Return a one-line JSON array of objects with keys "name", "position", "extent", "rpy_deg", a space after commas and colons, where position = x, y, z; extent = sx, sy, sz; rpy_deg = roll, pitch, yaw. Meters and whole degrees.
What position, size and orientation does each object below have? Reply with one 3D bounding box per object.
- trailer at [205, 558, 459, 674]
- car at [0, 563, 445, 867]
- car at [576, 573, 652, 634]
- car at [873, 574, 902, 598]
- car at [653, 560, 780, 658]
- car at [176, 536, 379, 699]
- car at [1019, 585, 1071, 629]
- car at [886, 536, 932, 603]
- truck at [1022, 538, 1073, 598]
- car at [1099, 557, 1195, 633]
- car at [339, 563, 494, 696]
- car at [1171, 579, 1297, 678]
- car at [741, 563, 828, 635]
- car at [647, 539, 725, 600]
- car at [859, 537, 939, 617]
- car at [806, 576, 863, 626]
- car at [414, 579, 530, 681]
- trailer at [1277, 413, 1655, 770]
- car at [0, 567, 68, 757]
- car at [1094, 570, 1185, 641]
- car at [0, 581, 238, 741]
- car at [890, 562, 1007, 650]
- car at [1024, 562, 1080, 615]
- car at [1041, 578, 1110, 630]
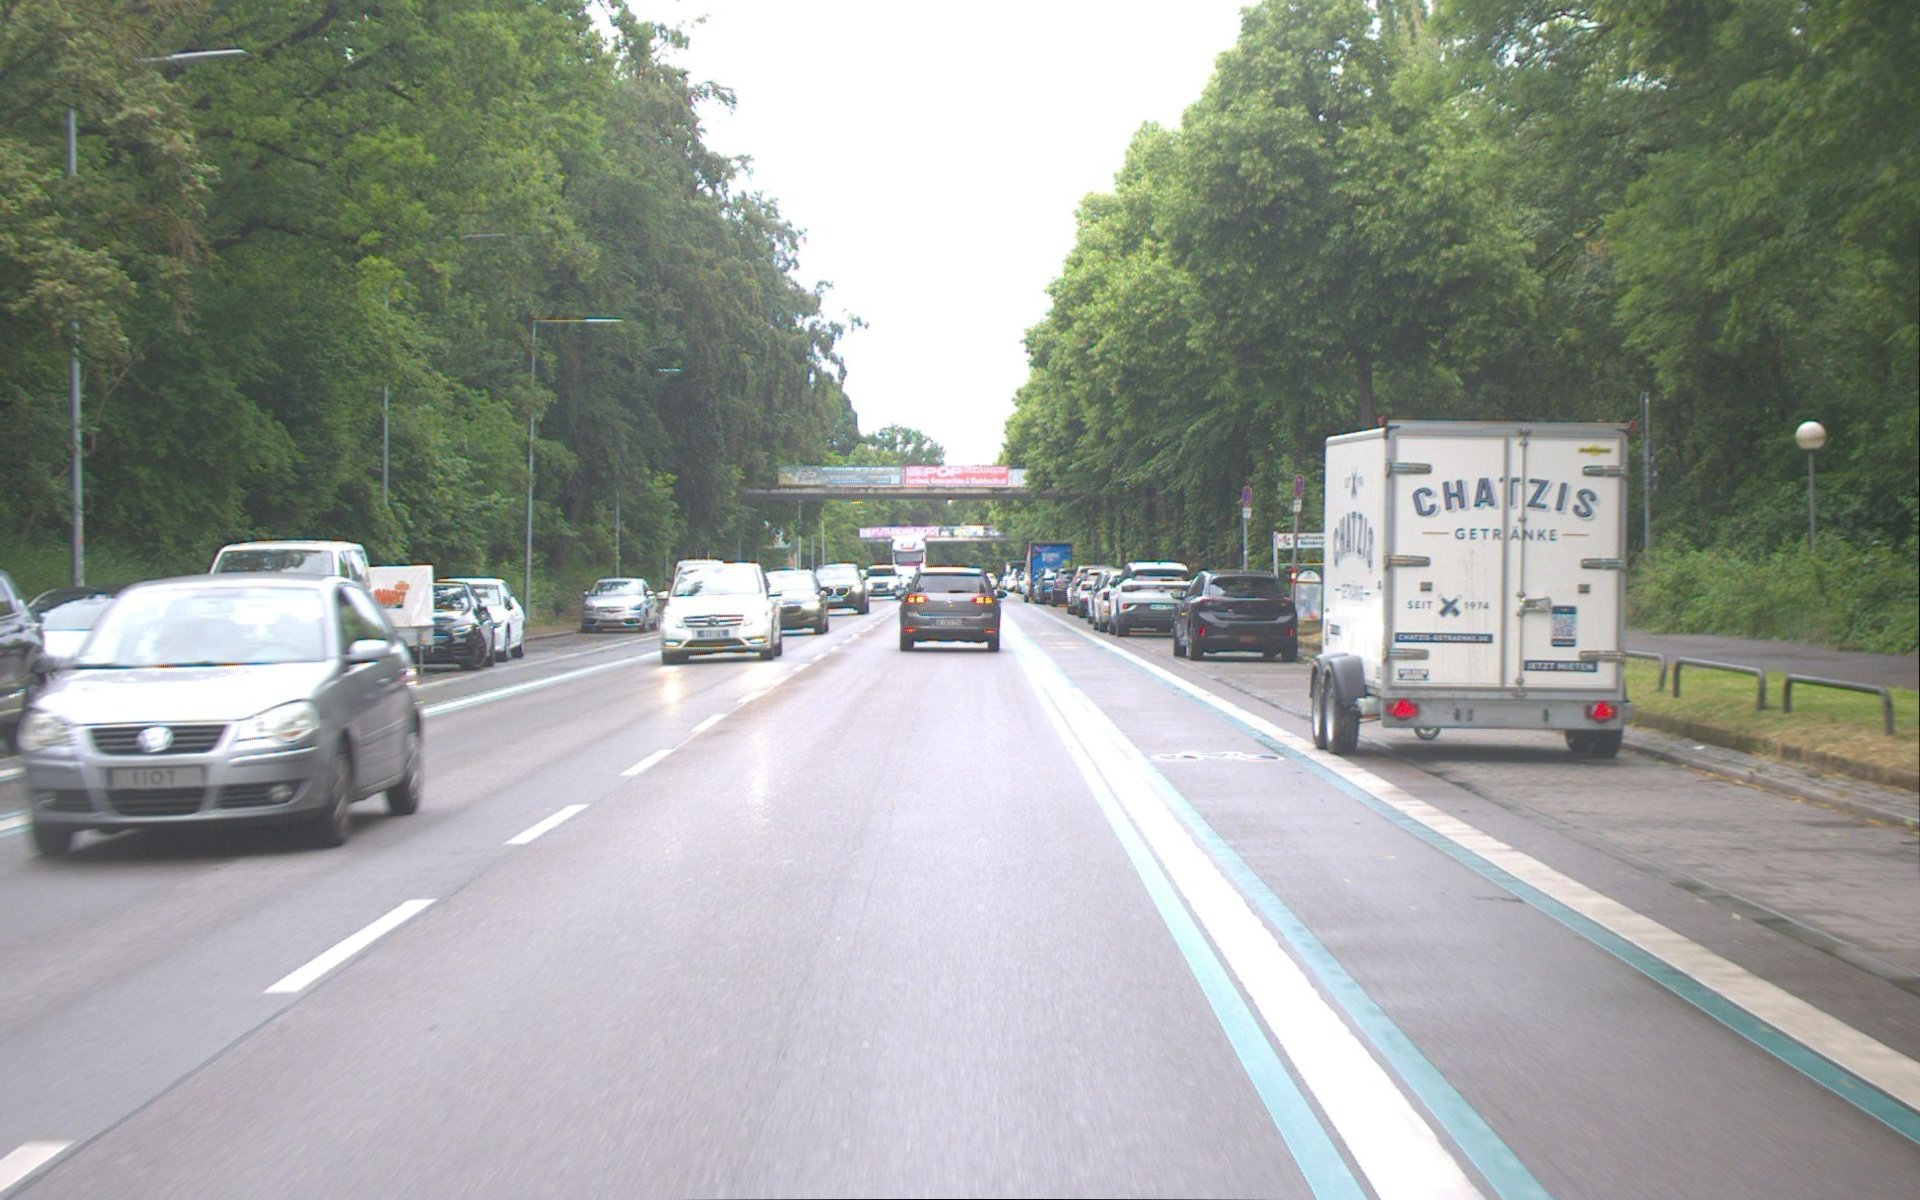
[{"name": "trailer", "position": [-9.092, 0.201, 50.004], "extent": [1.628, 1.623, 3.666], "rpy_deg": [0, 1, 31]}, {"name": "car", "position": [-4.018, 0.549, 19.058], "extent": [1.698, 1.480, 4.035], "rpy_deg": [-1, 1, 0]}, {"name": "car", "position": [-9.042, 0.079, 90.008], "extent": [1.672, 1.508, 3.630], "rpy_deg": [1, 1, -1]}, {"name": "car", "position": [-3.472, -0.670, 164.927], "extent": [1.378, 1.127, 3.313], "rpy_deg": [0, 0, 0]}, {"name": "car", "position": [-3.878, 0.119, 55.329], "extent": [1.835, 1.512, 4.000], "rpy_deg": [0, 1, -1]}, {"name": "car", "position": [-8.866, 0.194, 45.012], "extent": [1.939, 2.007, 4.740], "rpy_deg": [0, 0, -3]}, {"name": "car", "position": [3.496, 0.280, 142.148], "extent": [1.993, 1.766, 4.000], "rpy_deg": [-1, 0, 0]}, {"name": "car", "position": [-3.805, -2.317, 259.847], "extent": [3.353, 4.935, 9.010], "rpy_deg": [1, 1, 0]}, {"name": "truck", "position": [3.800, -1.380, 150.158], "extent": [2.113, 2.590, 4.301], "rpy_deg": [0, 0, 0]}, {"name": "car", "position": [4.066, -0.123, 75.346], "extent": [1.897, 1.601, 4.000], "rpy_deg": [0, 0, 0]}, {"name": "car", "position": [-8.597, 0.428, 54.746], "extent": [1.939, 2.007, 4.740], "rpy_deg": [0, 0, -3]}, {"name": "car", "position": [4.401, 0.434, 55.634], "extent": [1.722, 1.520, 4.000], "rpy_deg": [0, 0, 0]}, {"name": "car", "position": [-3.910, -0.039, 77.181], "extent": [1.706, 1.566, 4.000], "rpy_deg": [0, 1, 1]}, {"name": "car", "position": [-9.157, -1.027, 115.146], "extent": [2.159, 2.007, 5.031], "rpy_deg": [0, 0, 1]}, {"name": "car", "position": [-1.547, -0.598, 89.051], "extent": [1.993, 2.007, 4.000], "rpy_deg": [0, 0, 0]}, {"name": "car", "position": [-4.100, 0.017, 112.831], "extent": [1.706, 1.566, 4.000], "rpy_deg": [0, 1, 1]}, {"name": "car", "position": [-8.745, 0.514, 61.837], "extent": [1.576, 1.764, 3.415], "rpy_deg": [0, 0, 0]}, {"name": "trailer", "position": [3.837, -0.075, 26.861], "extent": [2.132, 2.551, 4.298], "rpy_deg": [0, 0, -3]}, {"name": "car", "position": [-8.761, 0.499, 27.891], "extent": [1.879, 1.556, 4.468], "rpy_deg": [0, 0, 0]}, {"name": "car", "position": [4.146, 0.115, 79.962], "extent": [1.897, 1.601, 4.000], "rpy_deg": [0, 0, 0]}, {"name": "car", "position": [-8.744, 0.559, 34.635], "extent": [1.993, 1.483, 4.468], "rpy_deg": [0, 0, 0]}, {"name": "car", "position": [-0.236, 0.135, 60.419], "extent": [1.871, 1.436, 4.296], "rpy_deg": [2, -1, -2]}, {"name": "car", "position": [3.561, -0.442, 134.048], "extent": [1.993, 2.007, 4.000], "rpy_deg": [0, 0, -1]}, {"name": "car", "position": [3.532, 0.098, 105.879], "extent": [1.993, 1.557, 4.000], "rpy_deg": [0, 0, 0]}]
